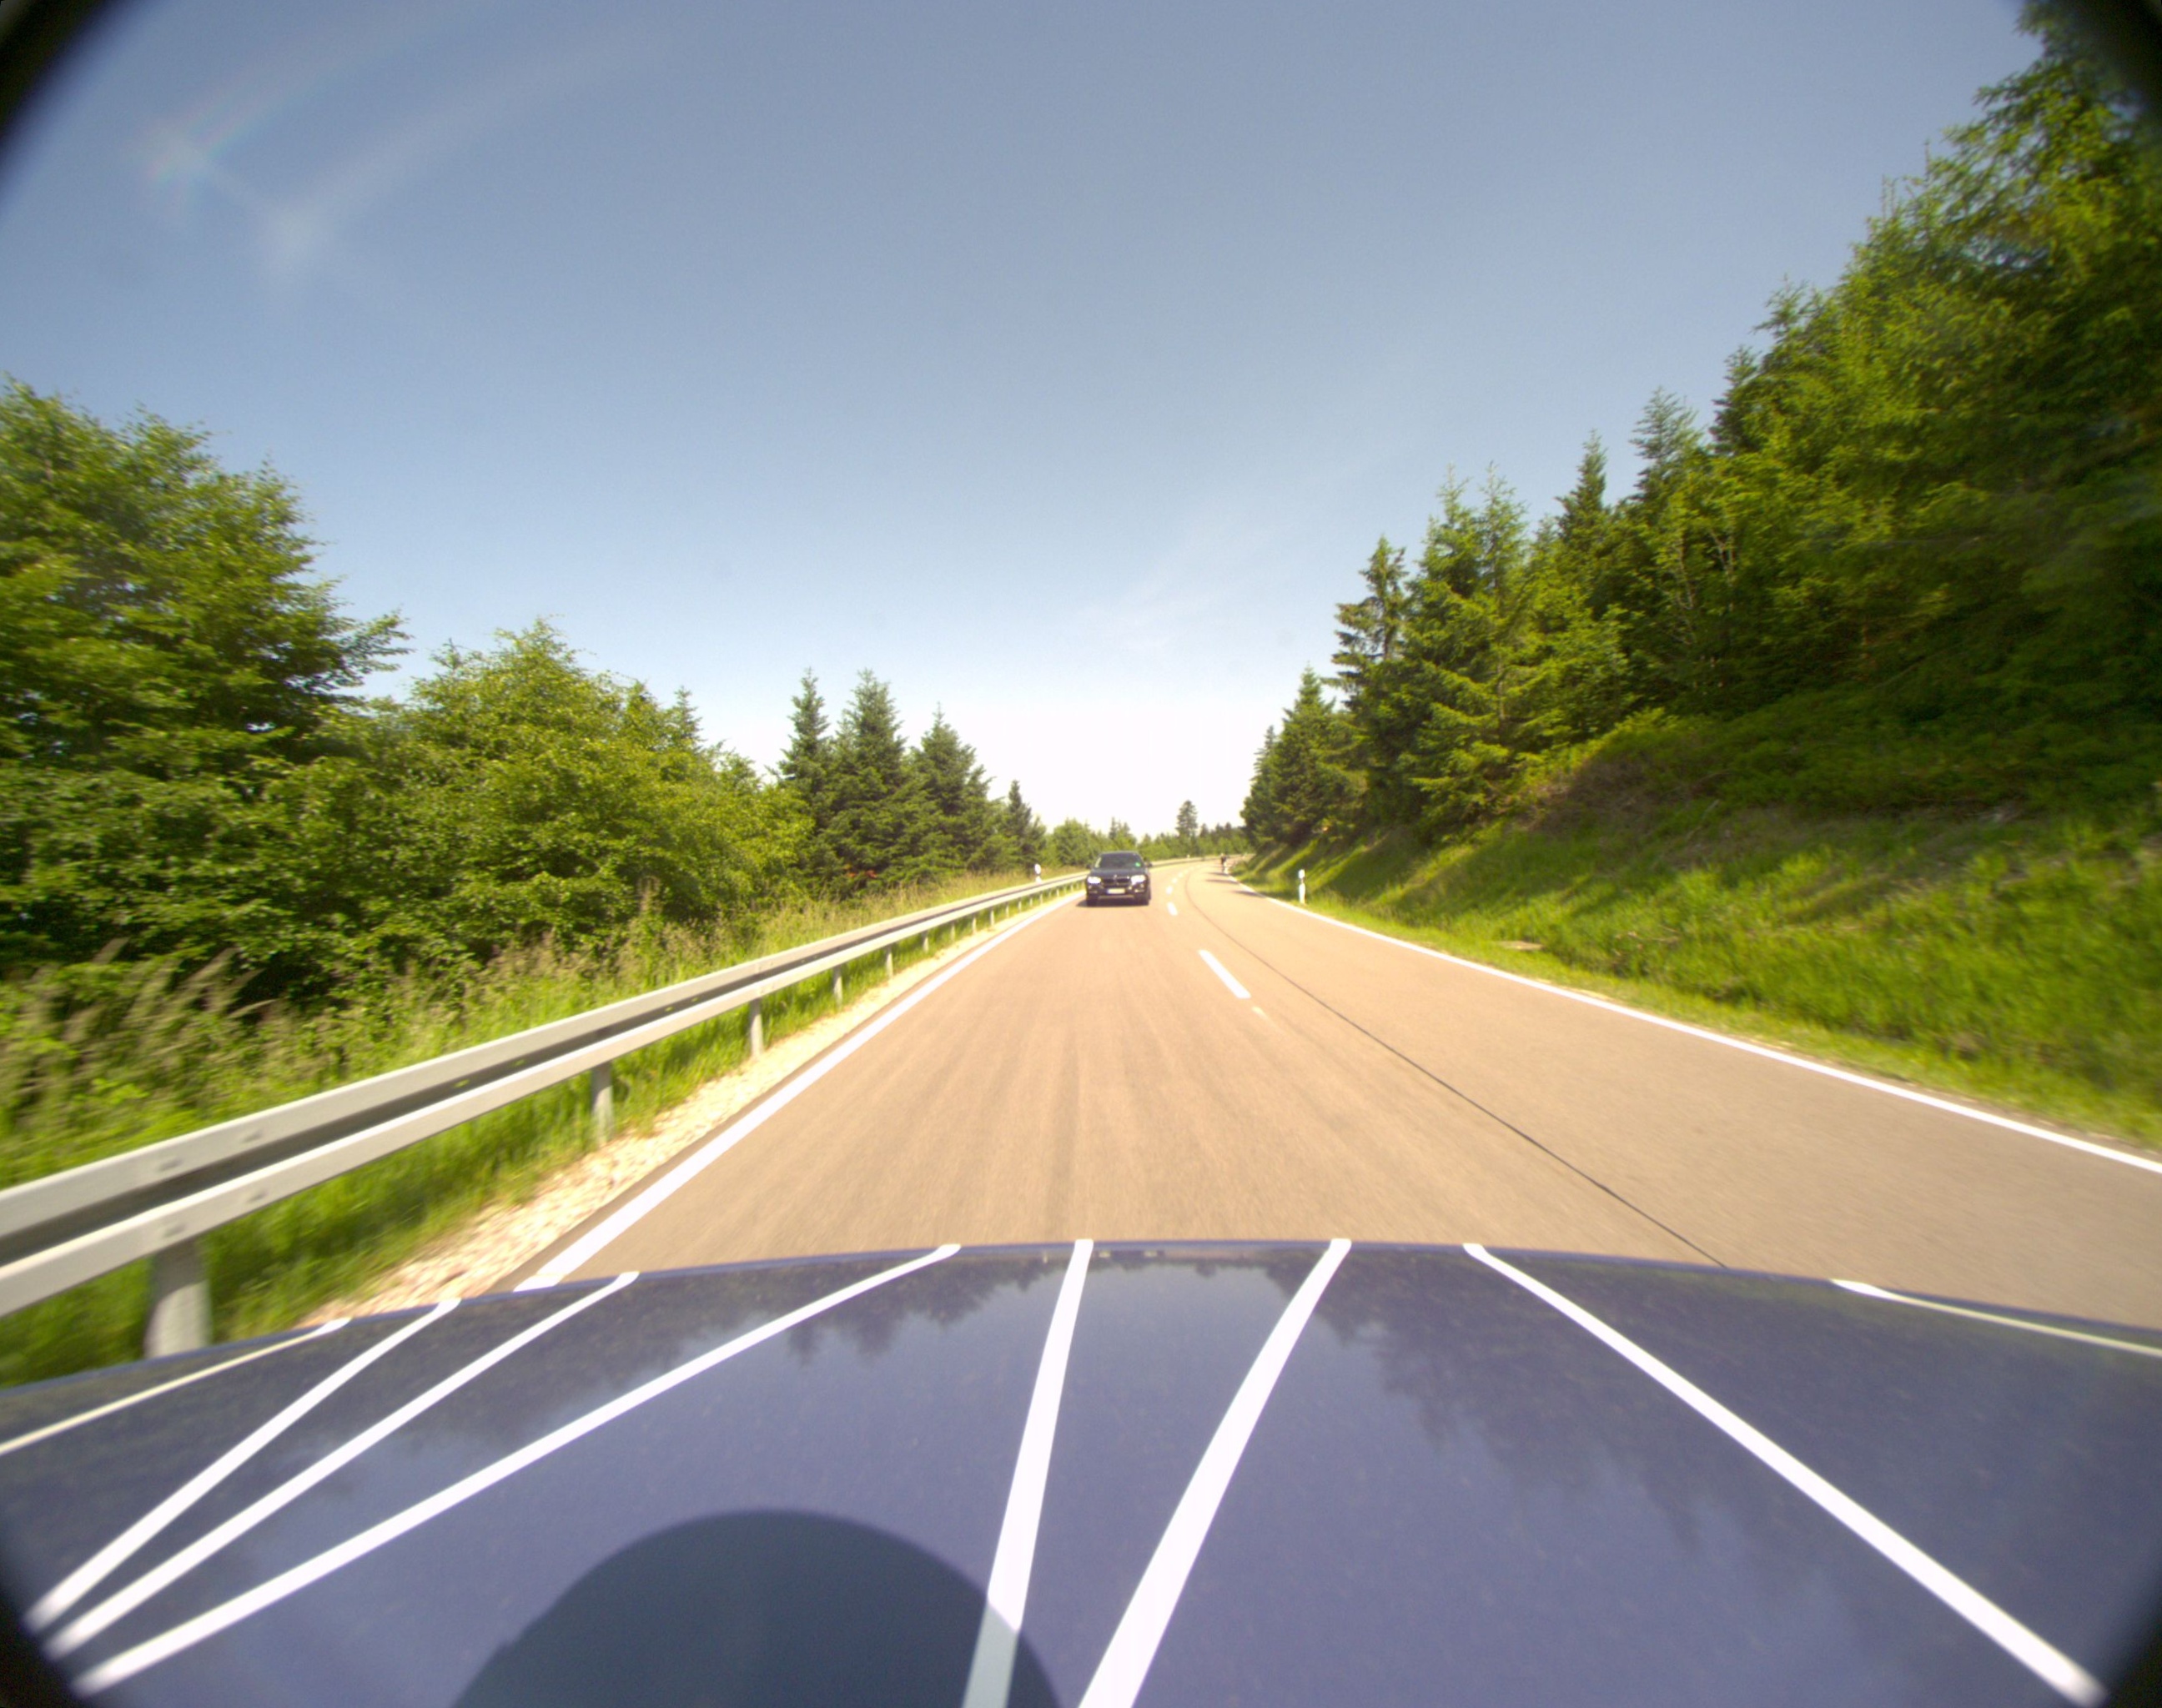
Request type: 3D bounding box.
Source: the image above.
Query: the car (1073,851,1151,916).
[{"bbox_3d":[1.106,0.800,23.765,1.997,1.677,5.938,-1,1,6],"label":"car"}]

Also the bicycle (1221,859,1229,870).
[{"bbox_3d":[12.086,0.858,63.693,0.554,0.881,2.063,0,1,9],"label":"bicycle"}]

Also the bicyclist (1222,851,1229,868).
[{"bbox_3d":[12.118,0.435,63.796,0.542,1.442,0.984,0,1,9],"label":"bicyclist"}]
